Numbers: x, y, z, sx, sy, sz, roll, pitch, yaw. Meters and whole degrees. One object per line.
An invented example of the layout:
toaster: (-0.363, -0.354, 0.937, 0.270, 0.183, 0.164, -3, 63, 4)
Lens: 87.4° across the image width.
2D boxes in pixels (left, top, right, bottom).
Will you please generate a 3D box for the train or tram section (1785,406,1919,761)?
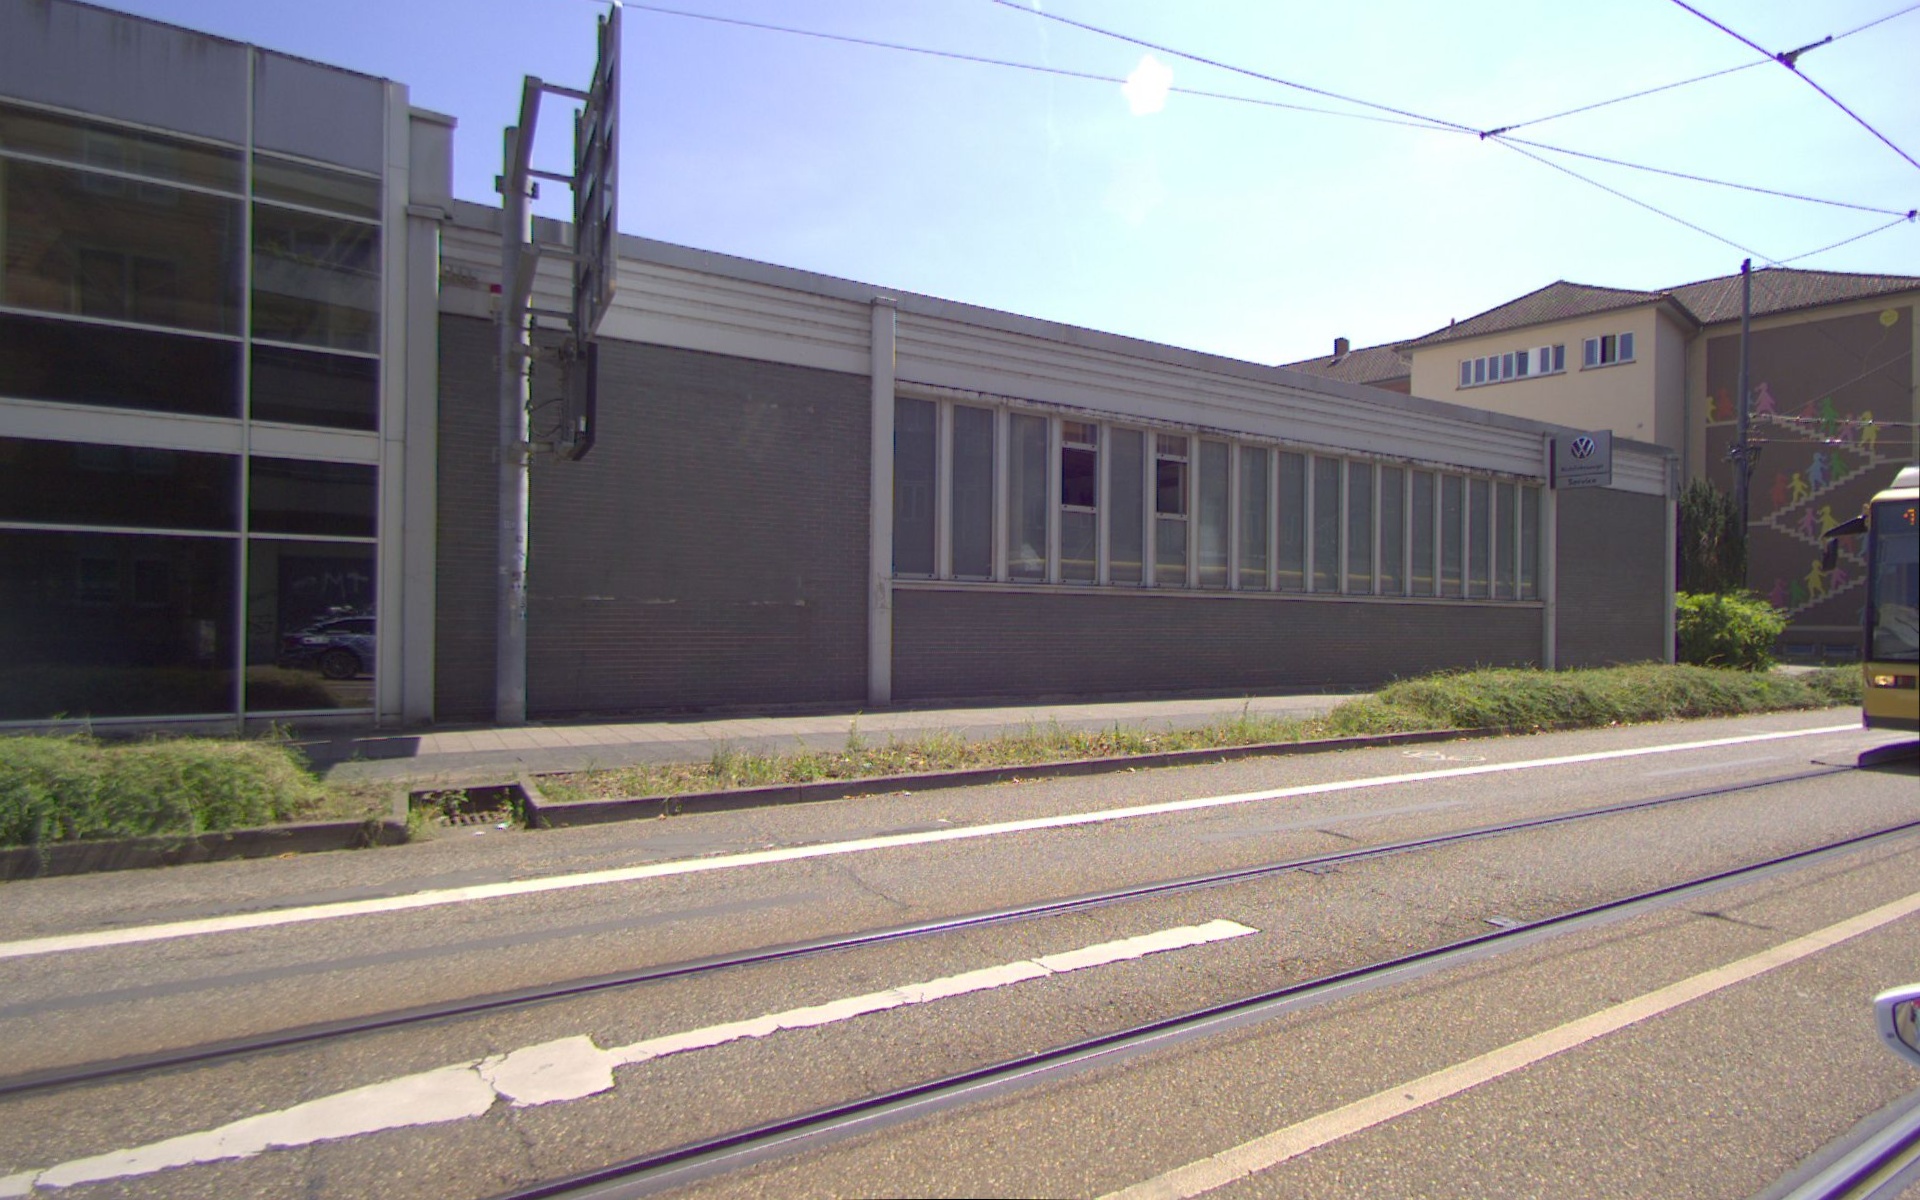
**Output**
train or tram section: (15.610, -0.062, 13.470, 13.272, 3.627, 2.945, 1, -1, -32)
